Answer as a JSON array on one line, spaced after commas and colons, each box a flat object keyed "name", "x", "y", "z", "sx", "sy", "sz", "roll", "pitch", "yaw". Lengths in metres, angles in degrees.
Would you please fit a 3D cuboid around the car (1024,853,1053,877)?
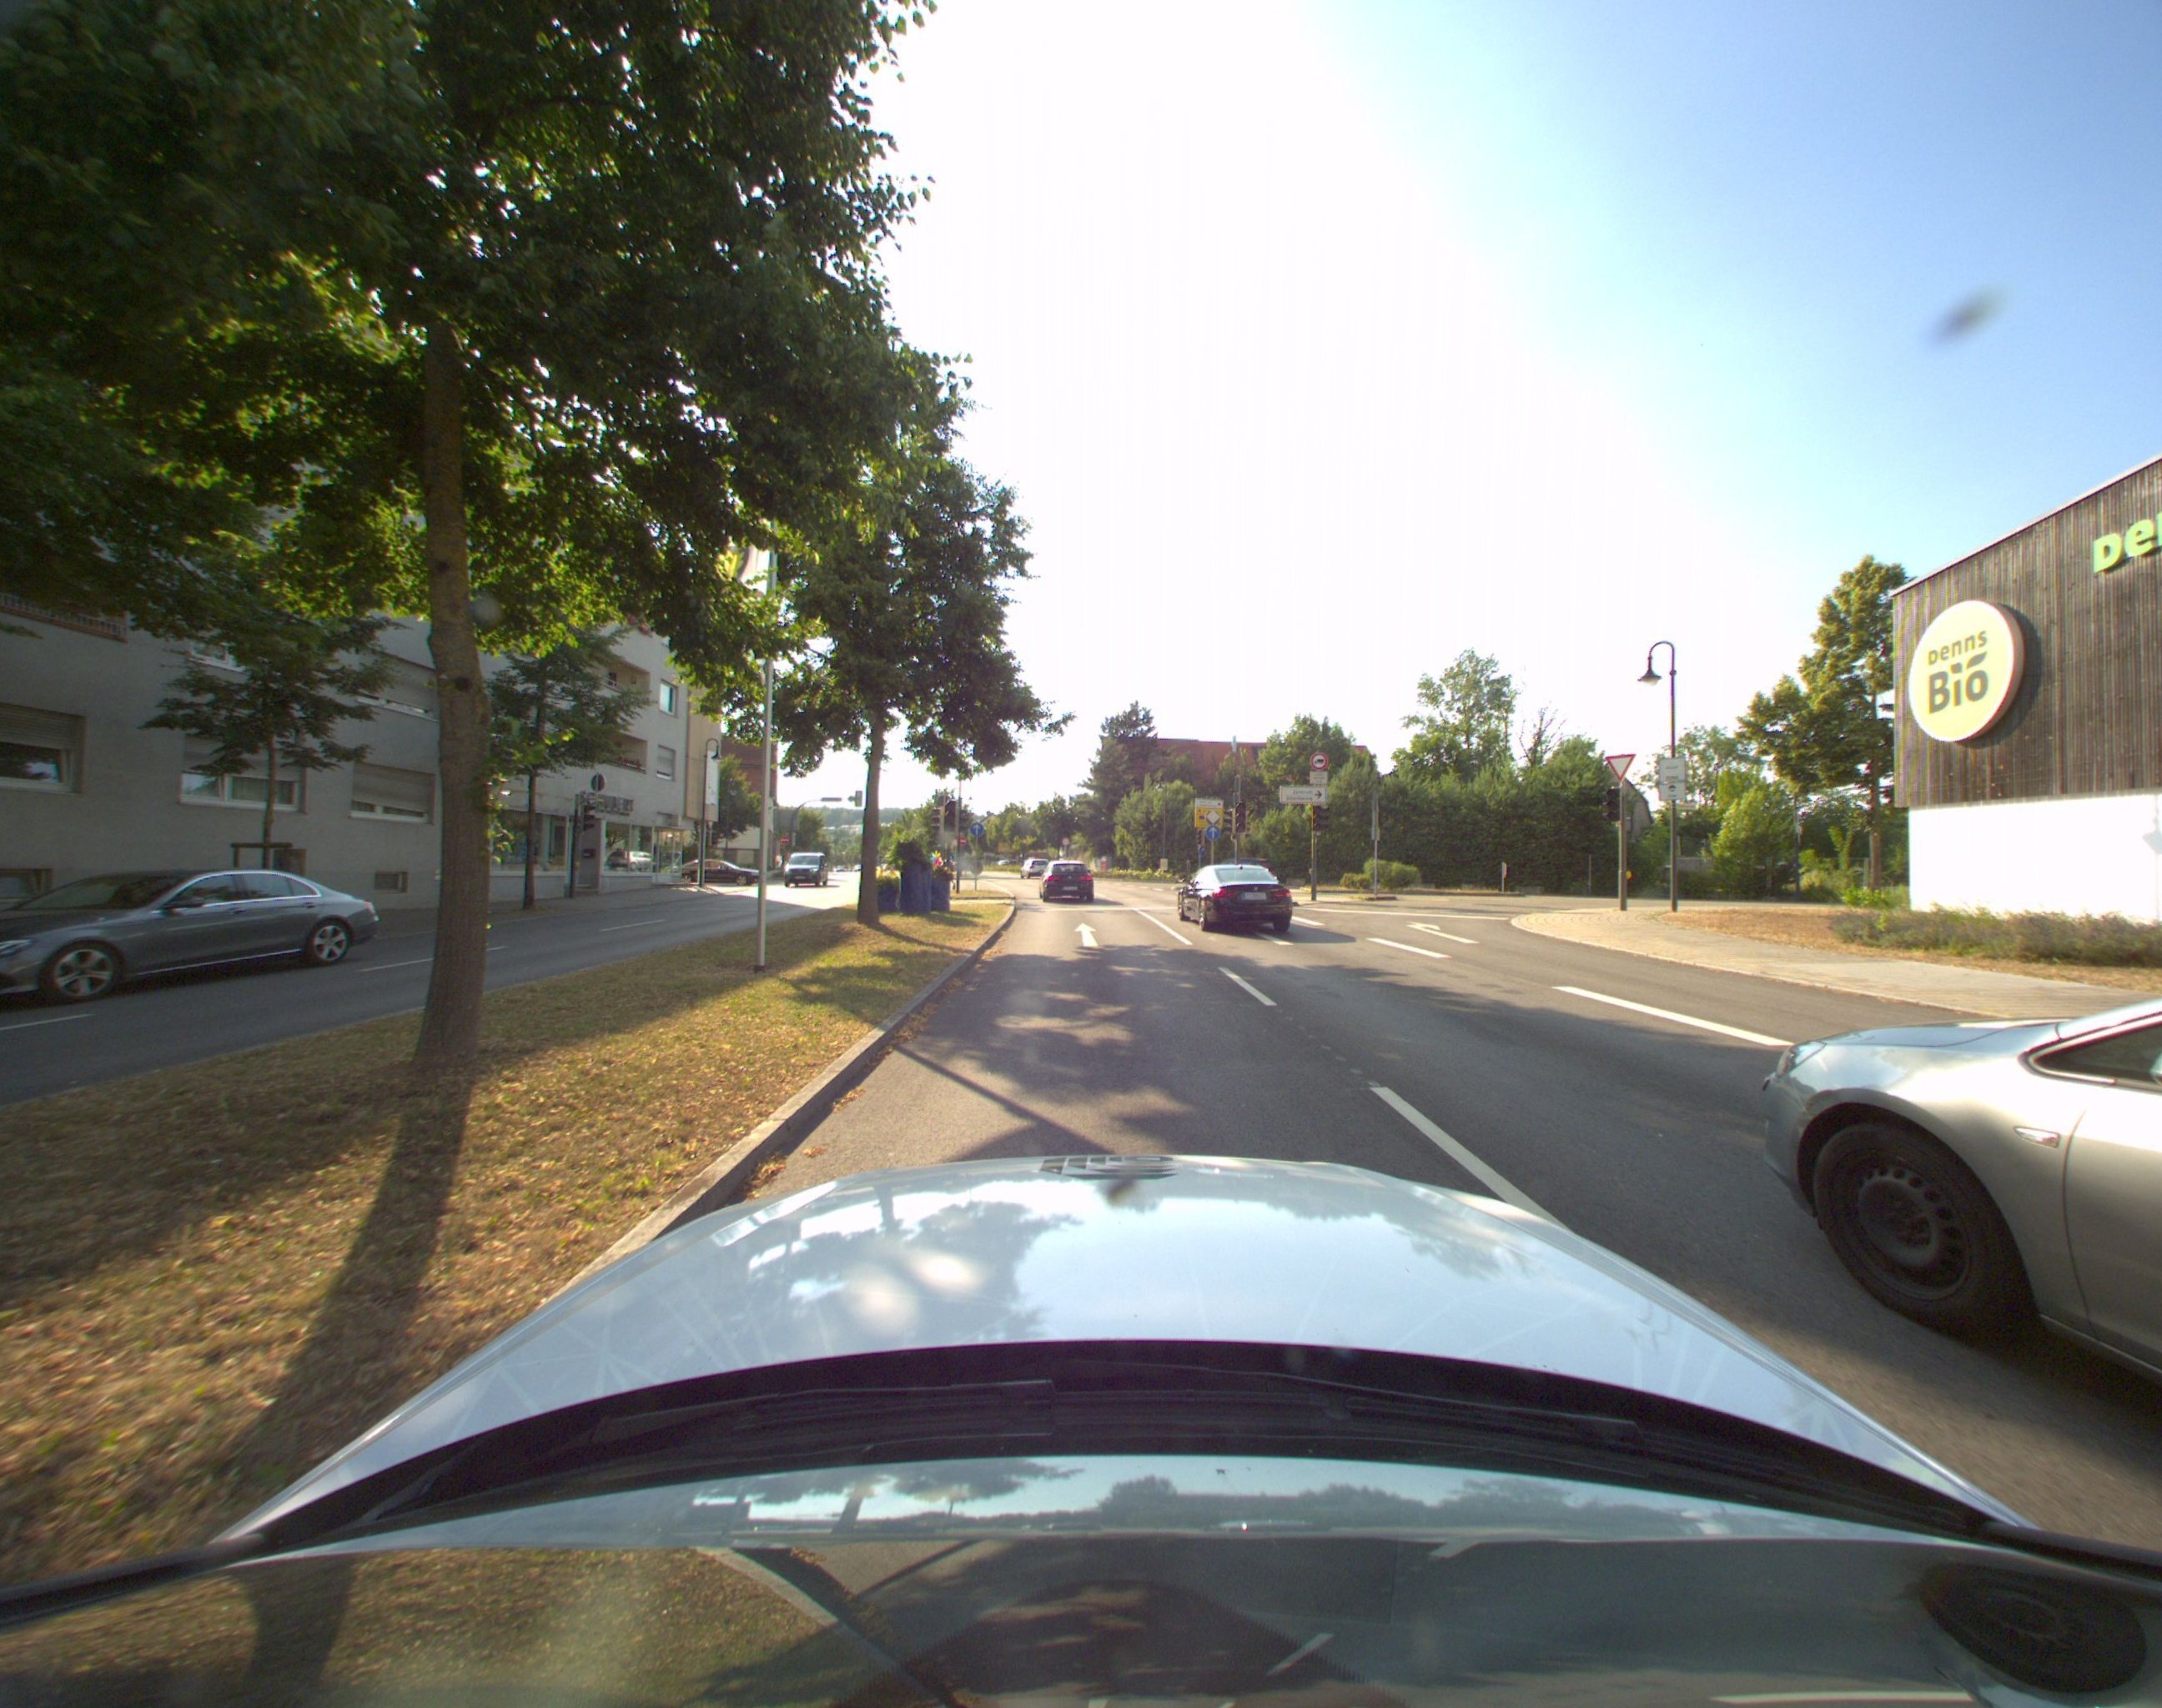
[{"name": "car", "x": -3.333, "y": 0.867, "z": 62.657, "sx": 1.924, "sy": 1.769, "sz": 4.442, "roll": 0, "pitch": -1, "yaw": -7}]

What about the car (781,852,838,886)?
[{"name": "car", "x": -14.742, "y": 0.817, "z": 44.539, "sx": 1.849, "sy": 1.736, "sz": 4.913, "roll": 0, "pitch": -1, "yaw": -5}]

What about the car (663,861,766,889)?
[{"name": "car", "x": -19.926, "y": 1.104, "z": 44.502, "sx": 4.868, "sy": 1.437, "sz": 1.907, "roll": 0, "pitch": -1, "yaw": -16}]

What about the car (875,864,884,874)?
[{"name": "car", "x": -43.737, "y": 3.211, "z": 176.780, "sx": 1.775, "sy": 2.014, "sz": 3.981, "roll": 0, "pitch": -1, "yaw": -14}]

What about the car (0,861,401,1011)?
[{"name": "car", "x": -11.694, "y": 0.847, "z": 10.429, "sx": 1.847, "sy": 1.486, "sz": 4.993, "roll": -1, "pitch": -1, "yaw": -1}]

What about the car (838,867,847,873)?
[{"name": "car", "x": -49.762, "y": 3.310, "z": 169.979, "sx": 1.759, "sy": 1.361, "sz": 4.461, "roll": 0, "pitch": -1, "yaw": -15}]

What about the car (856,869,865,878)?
[{"name": "car", "x": -45.767, "y": 4.021, "z": 169.200, "sx": 1.734, "sy": 1.679, "sz": 3.977, "roll": 0, "pitch": -1, "yaw": -17}]

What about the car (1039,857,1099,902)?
[{"name": "car", "x": -0.345, "y": 0.887, "z": 29.332, "sx": 1.713, "sy": 1.490, "sz": 4.358, "roll": 0, "pitch": -1, "yaw": 5}]

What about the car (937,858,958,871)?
[{"name": "car", "x": -18.258, "y": 1.448, "z": 111.527, "sx": 2.223, "sy": 1.769, "sz": 4.426, "roll": 0, "pitch": -1, "yaw": -18}]

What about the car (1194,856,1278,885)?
[{"name": "car", "x": 8.686, "y": 0.904, "z": 45.717, "sx": 4.216, "sy": 1.567, "sz": 1.804, "roll": 0, "pitch": -1, "yaw": 33}]

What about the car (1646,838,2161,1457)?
[{"name": "car", "x": 3.452, "y": 0.702, "z": 1.625, "sx": 1.715, "sy": 1.490, "sz": 4.307, "roll": 0, "pitch": 0, "yaw": 1}]

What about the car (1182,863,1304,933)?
[{"name": "car", "x": 3.439, "y": 0.888, "z": 18.139, "sx": 1.914, "sy": 1.364, "sz": 4.353, "roll": 0, "pitch": -1, "yaw": 1}]

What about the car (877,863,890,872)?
[{"name": "car", "x": -40.579, "y": 2.802, "z": 167.366, "sx": 2.223, "sy": 1.769, "sz": 4.426, "roll": 0, "pitch": -1, "yaw": -18}]
